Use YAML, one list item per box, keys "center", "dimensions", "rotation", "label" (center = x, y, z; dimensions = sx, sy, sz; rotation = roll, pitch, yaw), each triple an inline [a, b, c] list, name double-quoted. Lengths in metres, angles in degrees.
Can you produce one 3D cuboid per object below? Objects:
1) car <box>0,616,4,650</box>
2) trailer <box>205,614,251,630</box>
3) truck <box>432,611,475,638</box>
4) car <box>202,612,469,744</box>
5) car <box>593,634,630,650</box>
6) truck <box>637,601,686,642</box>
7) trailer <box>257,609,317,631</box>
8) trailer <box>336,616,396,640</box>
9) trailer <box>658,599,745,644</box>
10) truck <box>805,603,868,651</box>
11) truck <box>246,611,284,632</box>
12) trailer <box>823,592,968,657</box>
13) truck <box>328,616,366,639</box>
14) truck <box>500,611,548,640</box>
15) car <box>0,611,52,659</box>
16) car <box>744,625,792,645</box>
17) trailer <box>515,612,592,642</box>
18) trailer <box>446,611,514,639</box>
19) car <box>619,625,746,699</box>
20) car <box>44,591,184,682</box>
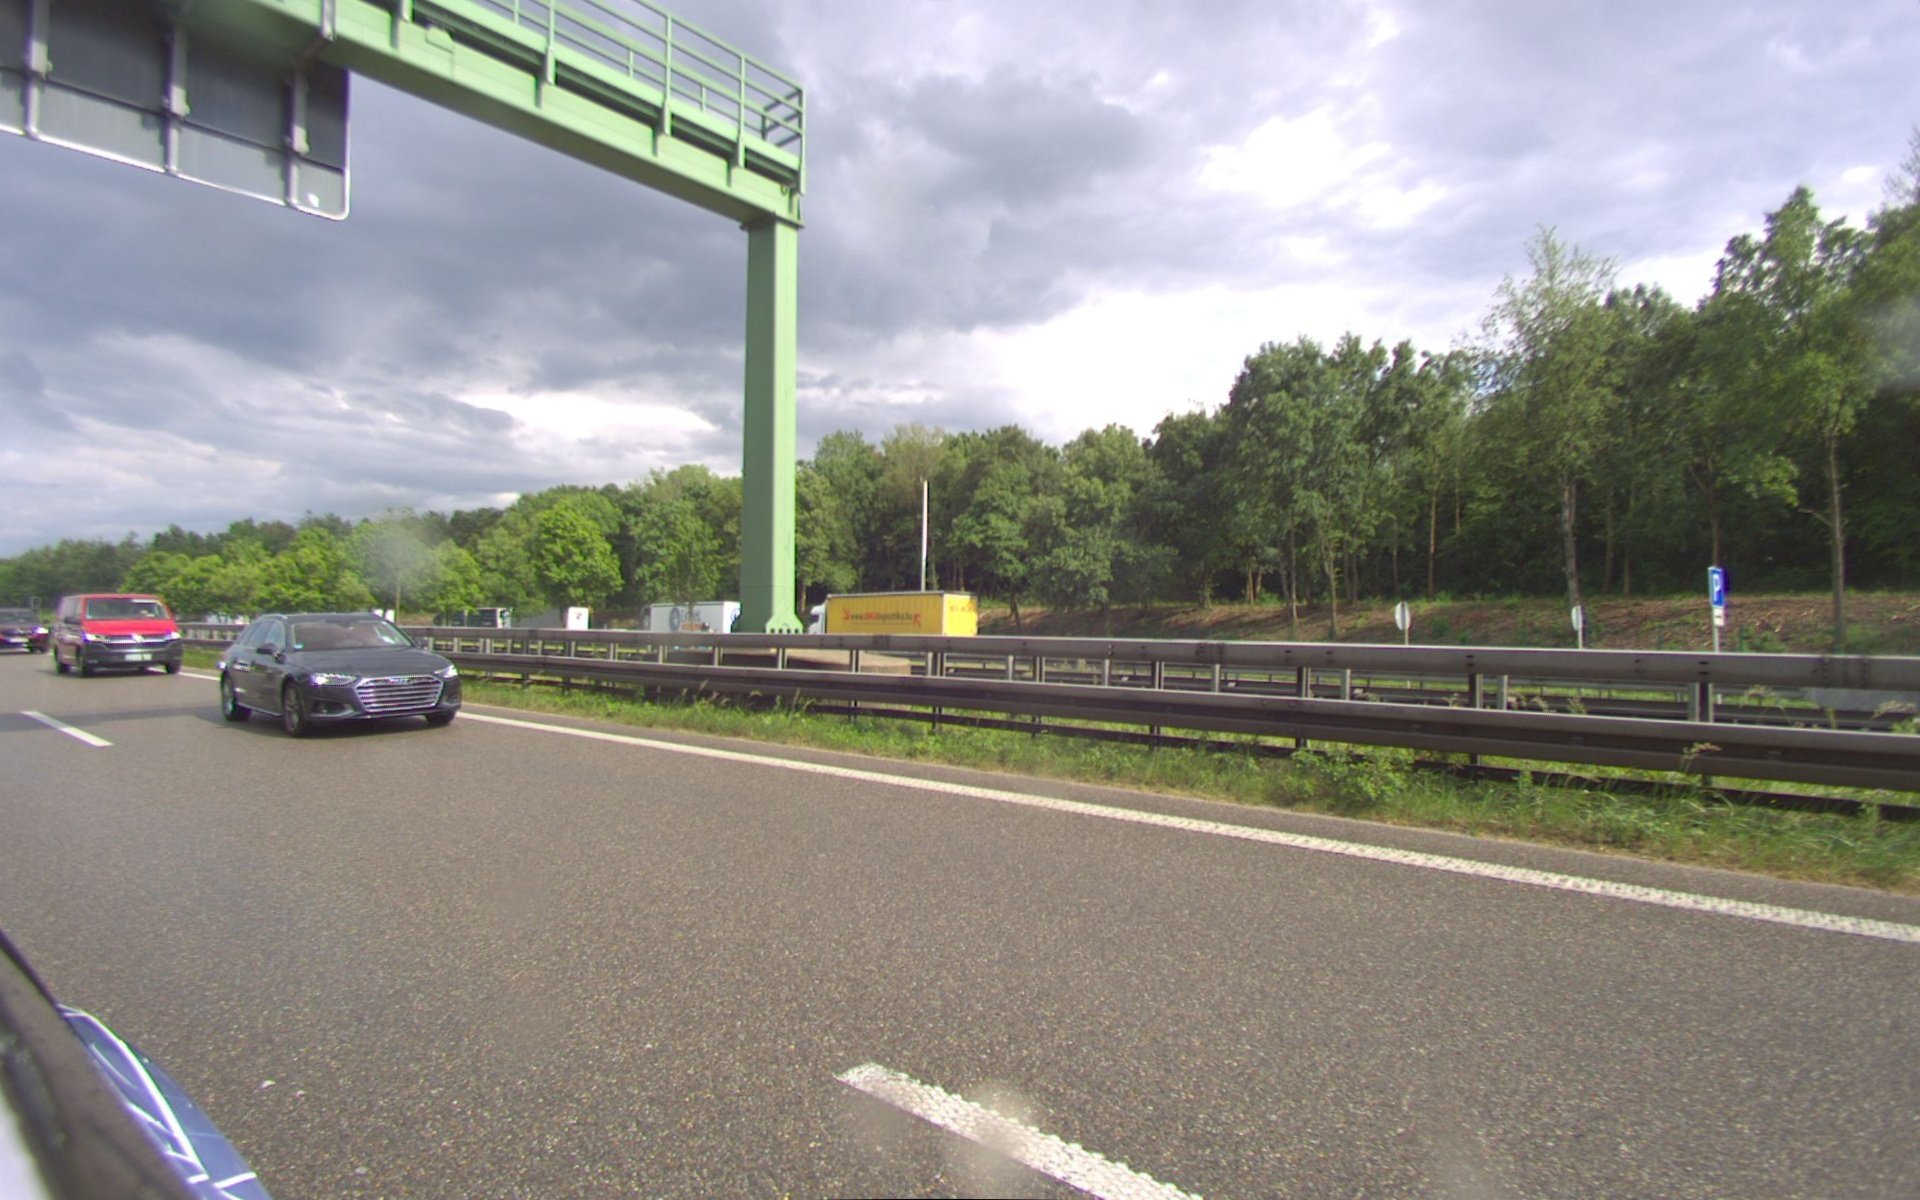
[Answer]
- center: [-46.784, 1.556, 47.889]
  dimensions: [4.051, 1.578, 1.871]
  rotation: [-1, -1, 41]
  label: "car"
- center: [-123.898, 3.669, 171.278]
  dimensions: [9.839, 2.594, 2.511]
  rotation: [0, -1, 30]
  label: "trailer"
- center: [-64.590, 3.101, 128.962]
  dimensions: [6.532, 3.275, 2.549]
  rotation: [-1, -2, 41]
  label: "truck"
- center: [-8.208, 0.880, 13.124]
  dimensions: [4.465, 1.422, 1.701]
  rotation: [-1, -1, 41]
  label: "car"
- center: [-34.562, 4.191, 100.398]
  dimensions: [4.002, 1.514, 1.873]
  rotation: [-1, -2, 45]
  label: "car"
- center: [-27.385, 1.975, 92.757]
  dimensions: [2.136, 3.648, 5.585]
  rotation: [2, -2, -41]
  label: "truck"
- center: [-106.546, 3.199, 160.105]
  dimensions: [13.375, 3.296, 3.050]
  rotation: [-1, -2, 34]
  label: "trailer"
- center: [-85.827, 4.032, 146.089]
  dimensions: [12.632, 3.296, 3.153]
  rotation: [-1, -2, 38]
  label: "trailer"
- center: [-22.394, 1.853, 87.123]
  dimensions: [2.156, 3.627, 11.734]
  rotation: [2, -2, -41]
  label: "trailer"
- center: [-8.529, 1.780, 69.352]
  dimensions: [1.950, 3.121, 5.087]
  rotation: [-1, 0, -37]
  label: "truck"
- center: [-112.974, 3.484, 164.472]
  dimensions: [6.081, 3.280, 3.047]
  rotation: [0, -3, 34]
  label: "truck"
- center: [-4.449, 1.443, 63.881]
  dimensions: [1.967, 3.722, 13.689]
  rotation: [0, 0, -37]
  label: "trailer"
- center: [-91.047, 4.093, 150.255]
  dimensions: [5.385, 3.280, 3.142]
  rotation: [-1, -3, 39]
  label: "truck"
- center: [-50.128, 2.922, 116.400]
  dimensions: [5.597, 3.208, 3.009]
  rotation: [-1, -2, 43]
  label: "truck"
- center: [-35.234, 1.253, 37.485]
  dimensions: [4.292, 1.682, 1.871]
  rotation: [-1, -1, 41]
  label: "car"
- center: [-14.842, 2.708, 78.215]
  dimensions: [1.871, 1.514, 4.005]
  rotation: [2, -2, -41]
  label: "car"
- center: [-45.022, 2.991, 111.731]
  dimensions: [12.173, 3.217, 2.986]
  rotation: [-1, -2, 43]
  label: "trailer"
- center: [-58.929, 3.018, 124.072]
  dimensions: [12.640, 3.296, 2.577]
  rotation: [-1, -3, 41]
  label: "trailer"
- center: [-8.521, 1.826, 30.951]
  dimensions: [3.998, 2.029, 1.813]
  rotation: [-1, 1, 41]
  label: "car"
- center: [-20.516, 0.842, 24.472]
  dimensions: [4.747, 2.000, 1.871]
  rotation: [-1, -1, 41]
  label: "car"
